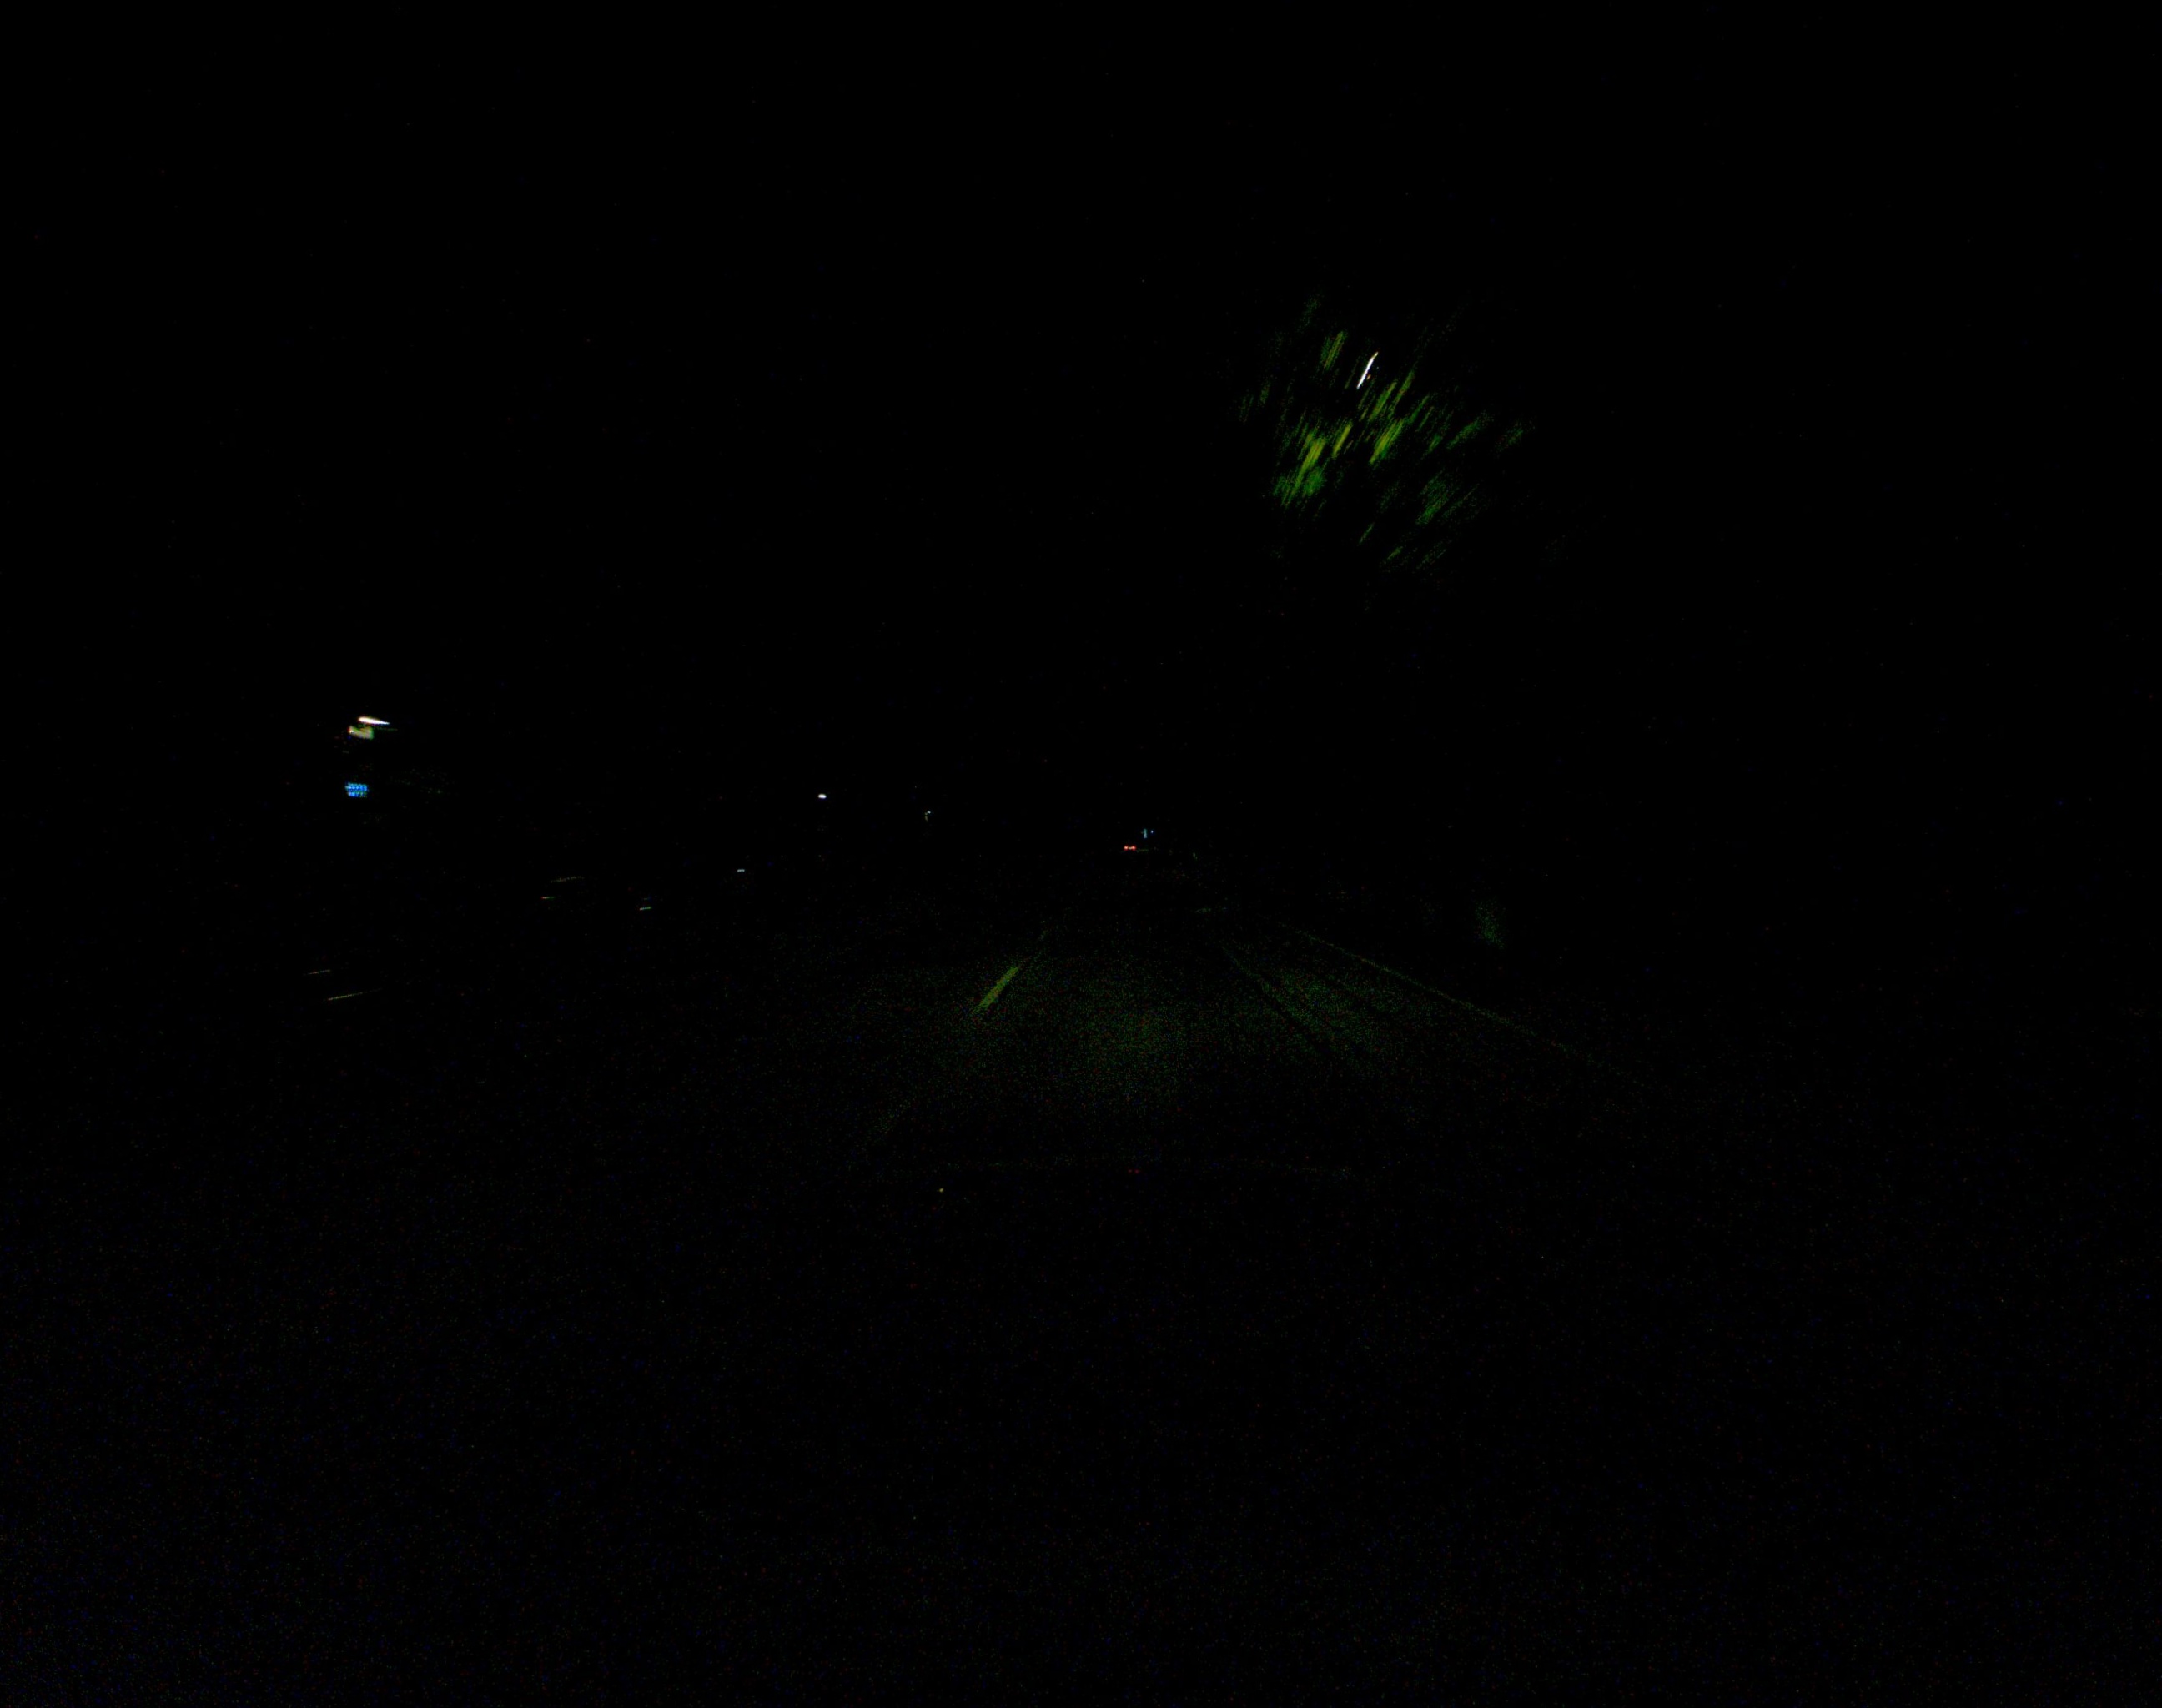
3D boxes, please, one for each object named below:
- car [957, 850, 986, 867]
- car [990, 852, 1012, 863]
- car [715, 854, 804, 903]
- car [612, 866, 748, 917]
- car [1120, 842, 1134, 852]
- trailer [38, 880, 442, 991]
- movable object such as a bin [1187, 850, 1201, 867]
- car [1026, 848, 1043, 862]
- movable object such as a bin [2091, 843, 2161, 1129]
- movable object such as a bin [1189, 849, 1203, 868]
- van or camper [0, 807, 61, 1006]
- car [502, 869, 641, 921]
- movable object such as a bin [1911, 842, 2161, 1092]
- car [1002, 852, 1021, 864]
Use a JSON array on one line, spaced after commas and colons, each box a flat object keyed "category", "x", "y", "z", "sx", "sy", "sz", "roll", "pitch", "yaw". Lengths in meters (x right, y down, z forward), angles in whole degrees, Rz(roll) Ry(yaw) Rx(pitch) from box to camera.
[{"category": "car", "x": -11.221, "y": 0.424, "z": 83.687, "sx": 1.985, "sy": 1.628, "sz": 4.680, "roll": -3, "pitch": 0, "yaw": 3}, {"category": "car", "x": -10.124, "y": 0.436, "z": 103.431, "sx": 1.985, "sy": 1.338, "sz": 5.436, "roll": -3, "pitch": 0, "yaw": 3}, {"category": "car", "x": -13.888, "y": 0.988, "z": 35.537, "sx": 1.851, "sy": 1.904, "sz": 4.880, "roll": -2, "pitch": 0, "yaw": 1}, {"category": "car", "x": -14.304, "y": 1.283, "z": 29.462, "sx": 1.892, "sy": 1.522, "sz": 5.180, "roll": -2, "pitch": 0, "yaw": 6}, {"category": "car", "x": 8.203, "y": -1.253, "z": 145.583, "sx": 2.154, "sy": 1.583, "sz": 4.013, "roll": -2, "pitch": 0, "yaw": 0}, {"category": "trailer", "x": -15.325, "y": 1.384, "z": 15.355, "sx": 2.406, "sy": 1.374, "sz": 4.665, "roll": -6, "pitch": 0, "yaw": 8}, {"category": "movable object such as a bin", "x": 7.452, "y": 0.289, "z": 53.801, "sx": 0.853, "sy": 1.119, "sz": 0.842, "roll": -2, "pitch": 0, "yaw": 6}, {"category": "car", "x": -7.636, "y": 0.189, "z": 134.000, "sx": 2.083, "sy": 2.013, "sz": 4.003, "roll": -7, "pitch": 0, "yaw": 3}, {"category": "movable object such as a bin", "x": 4.887, "y": 0.550, "z": 3.271, "sx": 0.719, "sy": 1.200, "sz": 0.722, "roll": -3, "pitch": 0, "yaw": 10}, {"category": "movable object such as a bin", "x": 7.443, "y": 0.279, "z": 52.923, "sx": 0.829, "sy": 1.181, "sz": 0.830, "roll": -2, "pitch": 0, "yaw": 6}, {"category": "van or camper", "x": -15.507, "y": 0.790, "z": 8.564, "sx": 2.266, "sy": 2.647, "sz": 5.661, "roll": -5, "pitch": 0, "yaw": -1}, {"category": "car", "x": -14.927, "y": 1.192, "z": 23.973, "sx": 3.020, "sy": 1.326, "sz": 1.533, "roll": -2, "pitch": 0, "yaw": -2}, {"category": "movable object such as a bin", "x": 5.030, "y": 0.517, "z": 4.143, "sx": 0.718, "sy": 1.121, "sz": 0.896, "roll": -3, "pitch": 0, "yaw": 10}, {"category": "car", "x": -9.293, "y": 0.501, "z": 109.261, "sx": 1.985, "sy": 1.530, "sz": 4.003, "roll": -3, "pitch": 1, "yaw": 3}]
